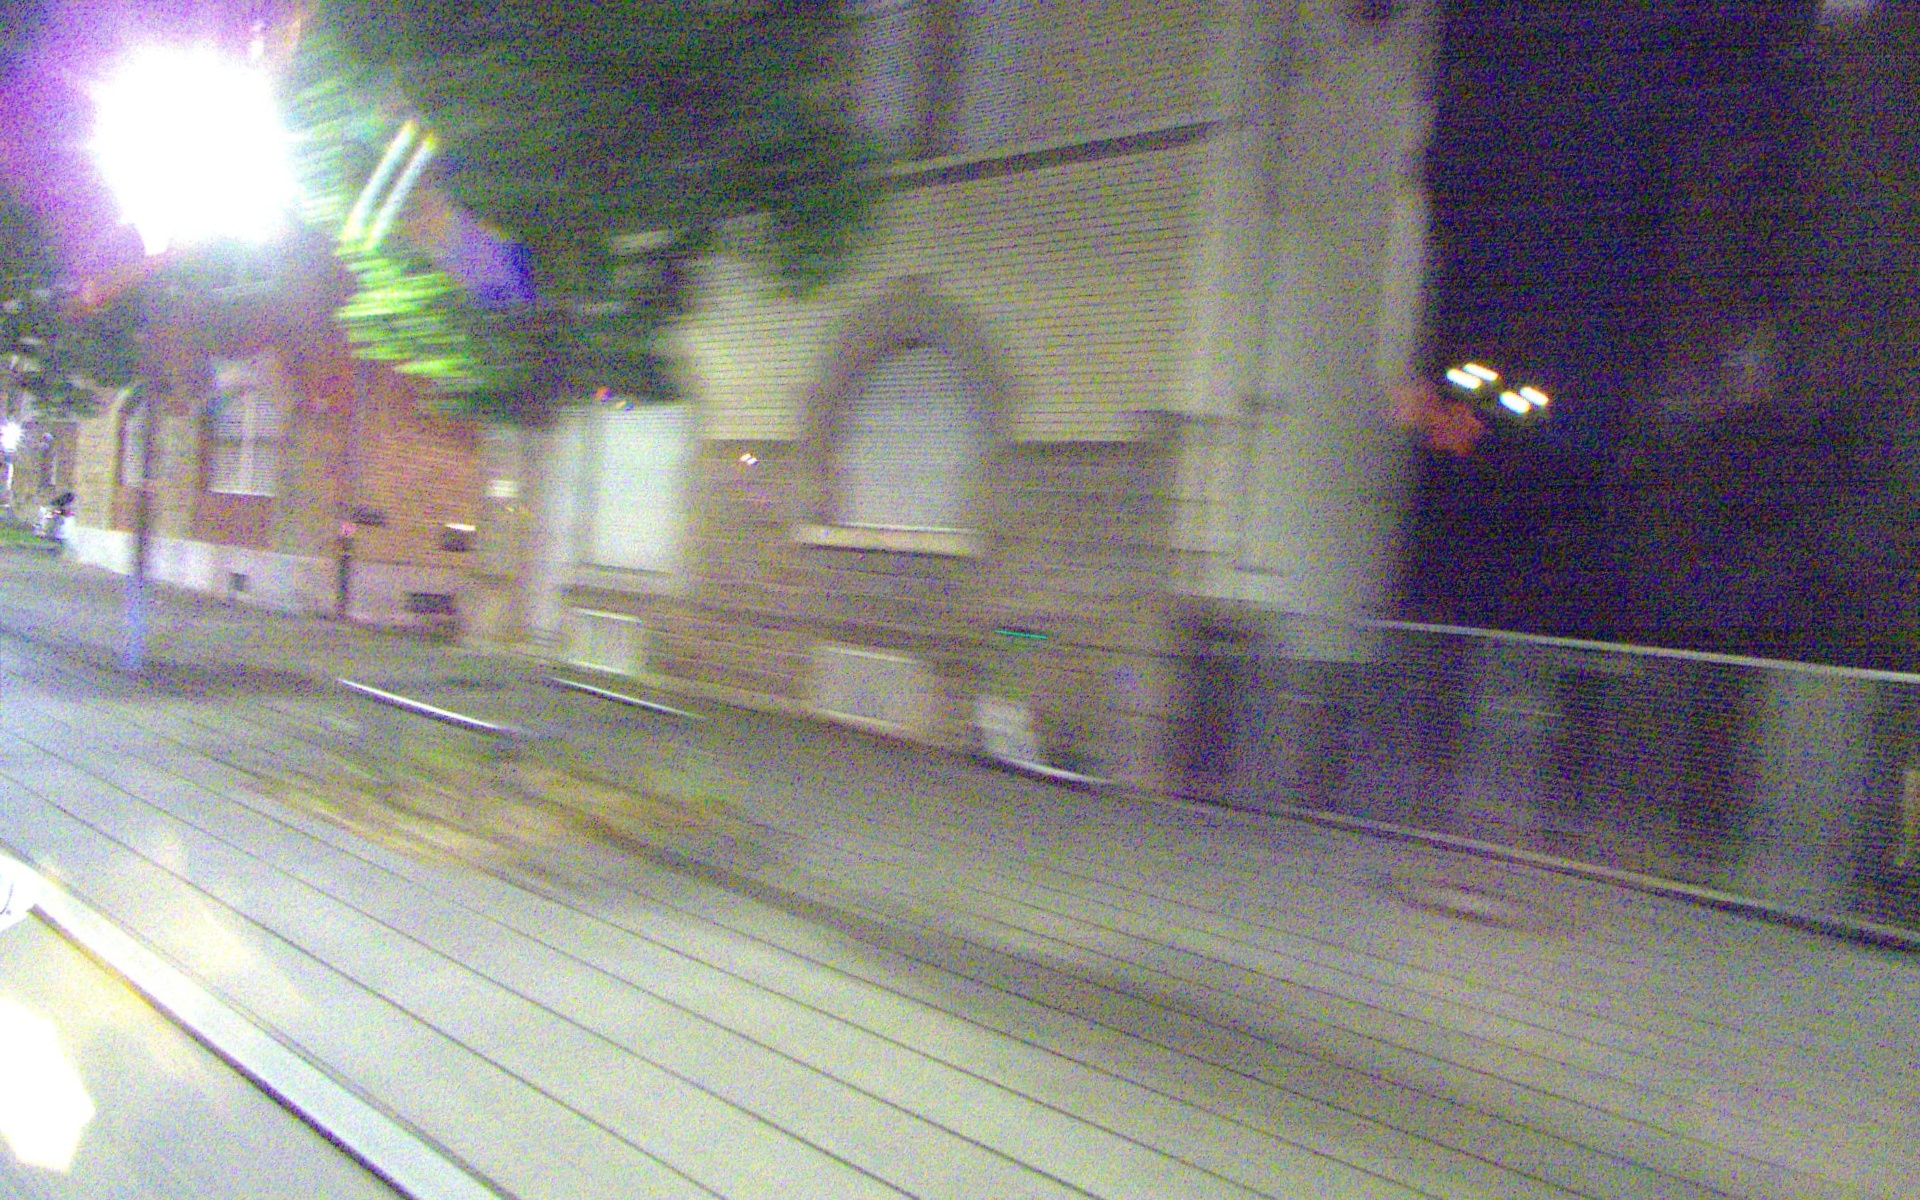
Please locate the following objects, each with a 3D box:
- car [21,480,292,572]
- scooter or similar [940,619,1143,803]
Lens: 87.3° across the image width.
[{"bbox_3d":[-17.864,-1.606,22.577,1.762,1.479,4.422,8,2,37],"label":"car"},{"bbox_3d":[0.589,0.800,7.699,1.472,1.145,0.421,8,3,40],"label":"scooter or similar"}]
